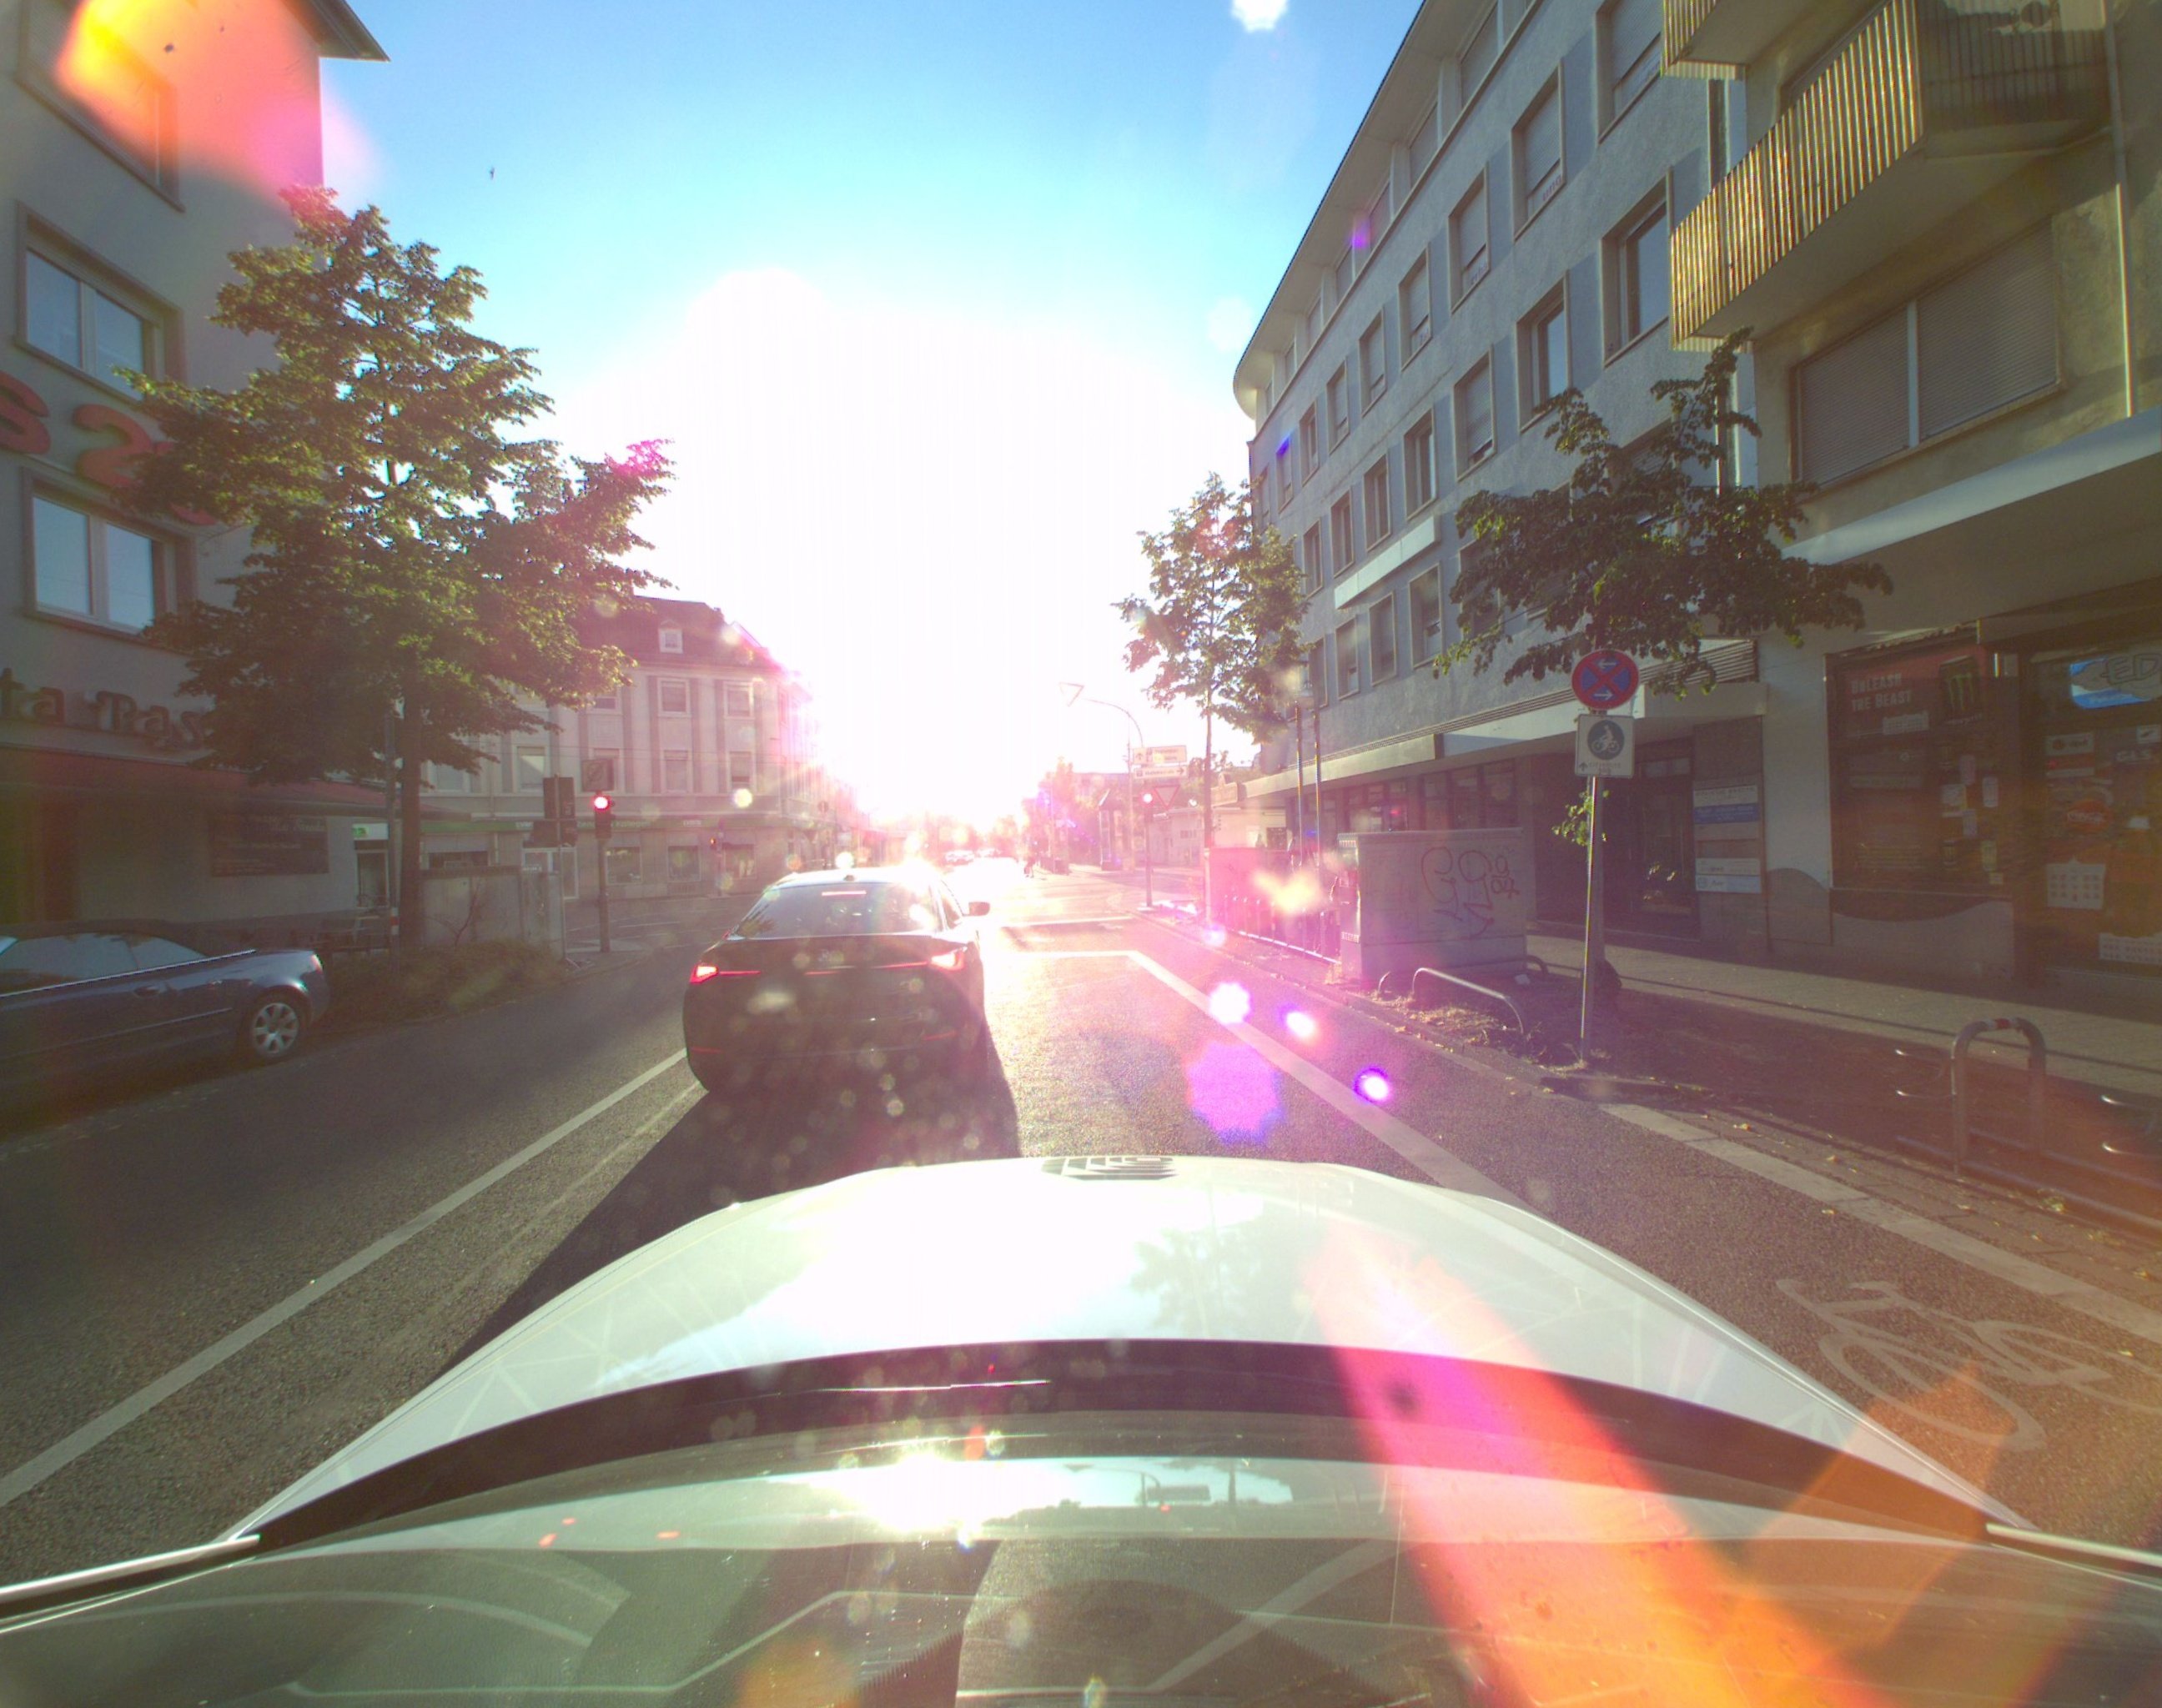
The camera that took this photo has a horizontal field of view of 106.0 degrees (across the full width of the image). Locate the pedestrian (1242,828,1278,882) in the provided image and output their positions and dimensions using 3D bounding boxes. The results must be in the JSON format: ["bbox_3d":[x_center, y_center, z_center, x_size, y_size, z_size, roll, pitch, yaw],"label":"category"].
[{"bbox_3d":[6.486,0.031,29.520,1.007,1.860,0.634,-5,1,-27],"label":"pedestrian"}]

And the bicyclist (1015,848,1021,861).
[{"bbox_3d":[-7.375,0.040,95.019,0.550,1.481,0.719,-1,-1,-14],"label":"bicyclist"}]

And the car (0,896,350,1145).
[{"bbox_3d":[-7.638,1.154,5.540,1.721,1.415,4.270,-4,0,-7],"label":"car"}]

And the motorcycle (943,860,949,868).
[{"bbox_3d":[-15.435,1.147,92.949,0.574,0.915,2.196,0,0,-6],"label":"motorcycle"}]

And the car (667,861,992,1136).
[{"bbox_3d":[-1.644,0.804,6.654,1.735,1.428,4.213,-1,0,-7],"label":"car"}]

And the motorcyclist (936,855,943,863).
[{"bbox_3d":[-16.335,0.623,94.161,0.574,0.915,2.196,0,0,-6],"label":"motorcyclist"}]

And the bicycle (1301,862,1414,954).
[{"bbox_3d":[3.833,0.736,11.314,1.438,1.220,0.383,0,0,-5],"label":"bicycle"}]

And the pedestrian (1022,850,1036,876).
[{"bbox_3d":[-3.141,0.541,49.482,0.737,1.529,0.468,0,0,-28],"label":"pedestrian"}]

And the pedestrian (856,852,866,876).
[{"bbox_3d":[-17.384,0.778,64.378,0.642,1.876,0.630,0,0,-7],"label":"pedestrian"}]

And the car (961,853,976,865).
[{"bbox_3d":[-15.734,0.657,113.756,1.816,1.519,3.992,-2,0,-6],"label":"car"}]

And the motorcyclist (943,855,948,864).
[{"bbox_3d":[-15.428,0.616,92.872,0.574,0.995,0.701,0,0,-6],"label":"motorcyclist"}]

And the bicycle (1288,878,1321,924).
[{"bbox_3d":[4.209,0.876,15.392,0.249,0.796,1.114,0,0,-3],"label":"bicycle"}]

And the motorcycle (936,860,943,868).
[{"bbox_3d":[-16.334,1.155,94.169,0.574,0.915,2.196,0,0,-6],"label":"motorcycle"}]

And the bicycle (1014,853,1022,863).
[{"bbox_3d":[-7.364,0.500,94.985,0.550,1.159,2.134,-1,-1,-13],"label":"bicycle"}]

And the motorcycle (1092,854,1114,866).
[{"bbox_3d":[1.835,0.496,67.903,1.673,0.939,0.851,-2,0,-18],"label":"motorcycle"}]

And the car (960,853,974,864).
[{"bbox_3d":[-17.317,0.656,123.925,1.816,1.519,3.992,-2,0,-6],"label":"car"}]

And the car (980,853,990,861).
[{"bbox_3d":[-18.139,0.584,154.084,1.816,1.519,3.992,-2,0,-6],"label":"car"}]

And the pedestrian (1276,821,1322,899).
[{"bbox_3d":[5.305,0.148,19.835,0.834,1.841,0.677,-2,0,-6],"label":"pedestrian"}]

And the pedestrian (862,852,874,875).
[{"bbox_3d":[-17.055,0.775,65.296,0.671,1.876,0.621,-1,0,19],"label":"pedestrian"}]

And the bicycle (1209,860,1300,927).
[{"bbox_3d":[3.235,0.731,15.208,1.610,1.171,0.318,-2,0,-5],"label":"bicycle"}]

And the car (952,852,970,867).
[{"bbox_3d":[-13.844,0.617,93.897,1.816,1.519,3.992,-2,0,-6],"label":"car"}]

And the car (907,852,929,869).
[{"bbox_3d":[-17.537,0.681,87.711,1.816,1.788,3.992,-2,0,-6],"label":"car"}]
